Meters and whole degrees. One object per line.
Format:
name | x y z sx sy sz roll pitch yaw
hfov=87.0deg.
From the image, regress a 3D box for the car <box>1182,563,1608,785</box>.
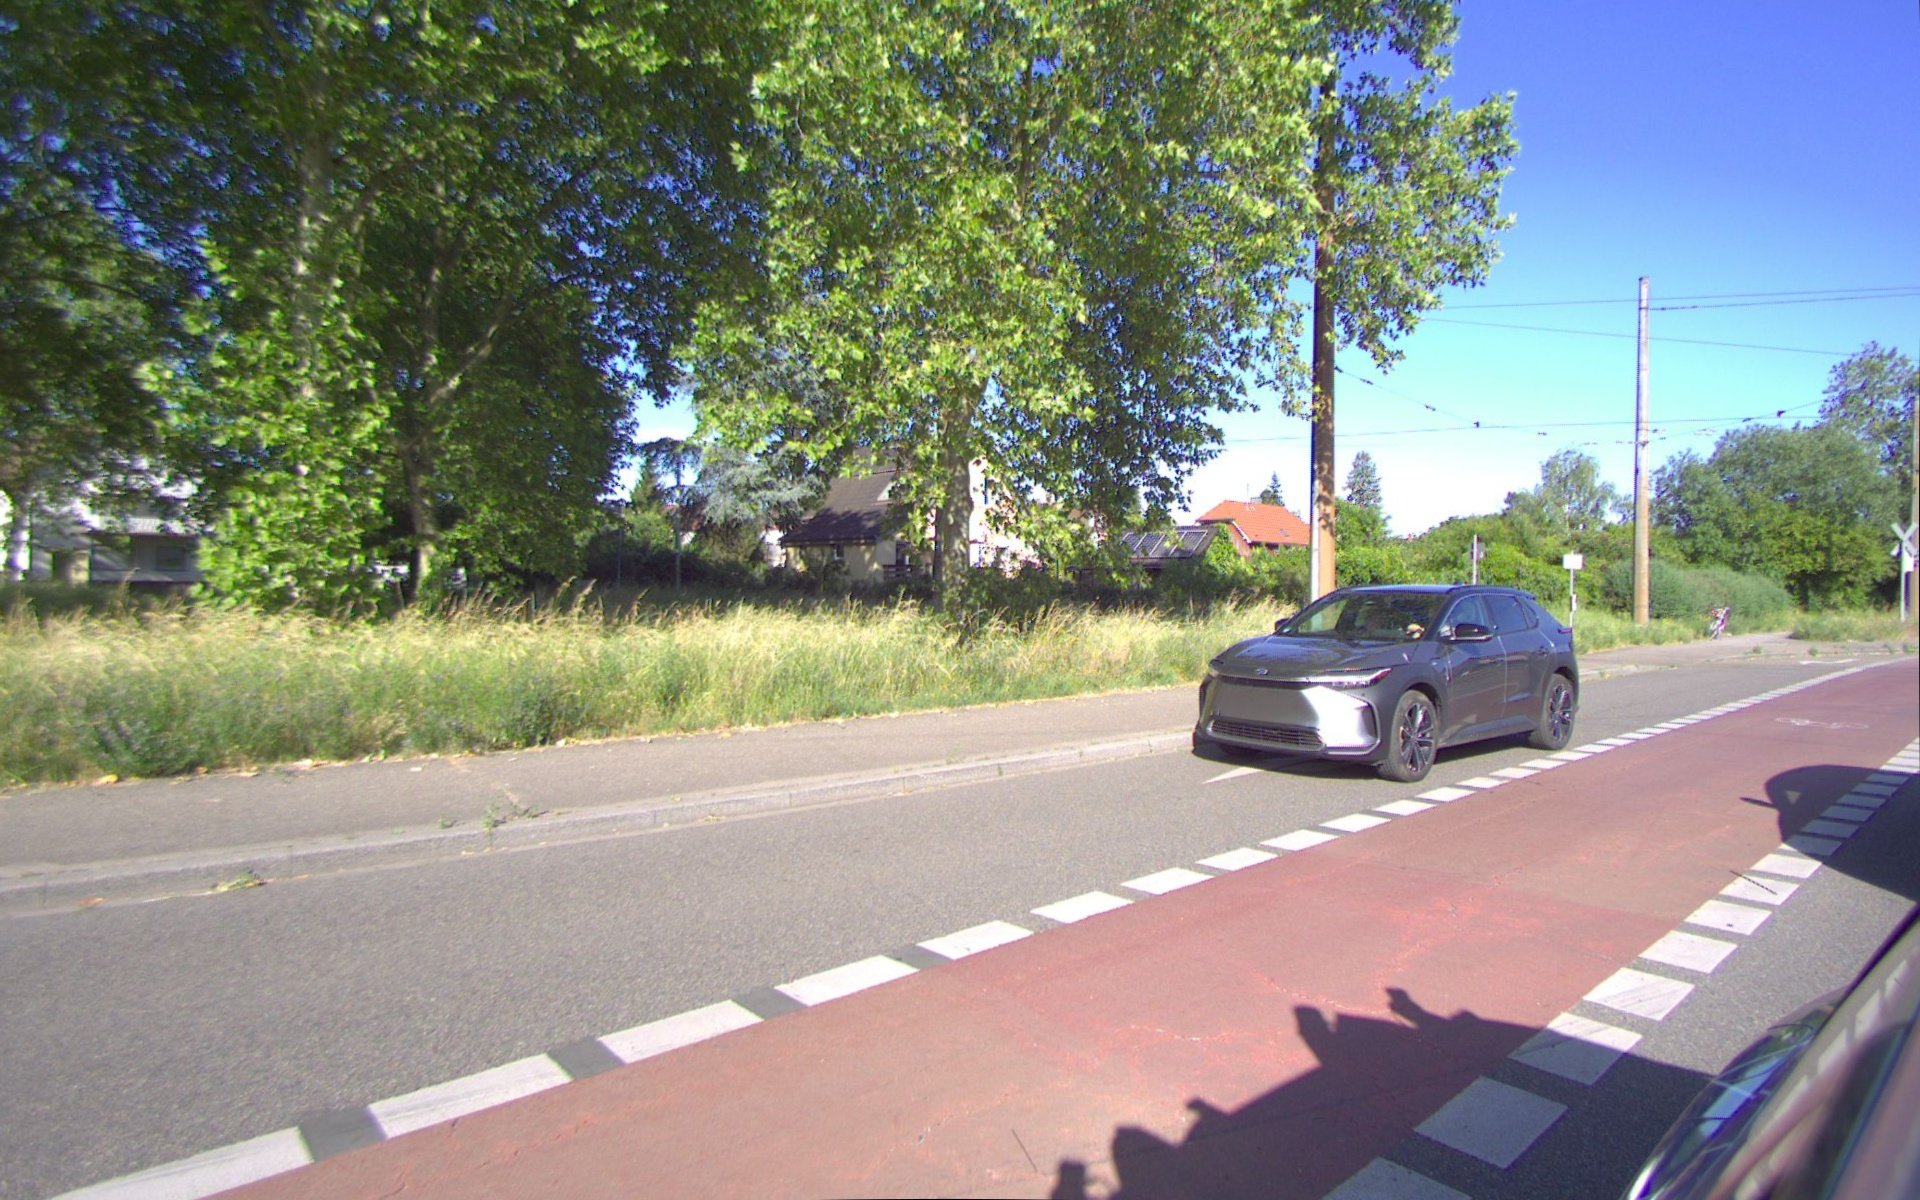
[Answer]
car | 4.253 0.537 9.580 4.415 1.651 1.771 0 1 -38
